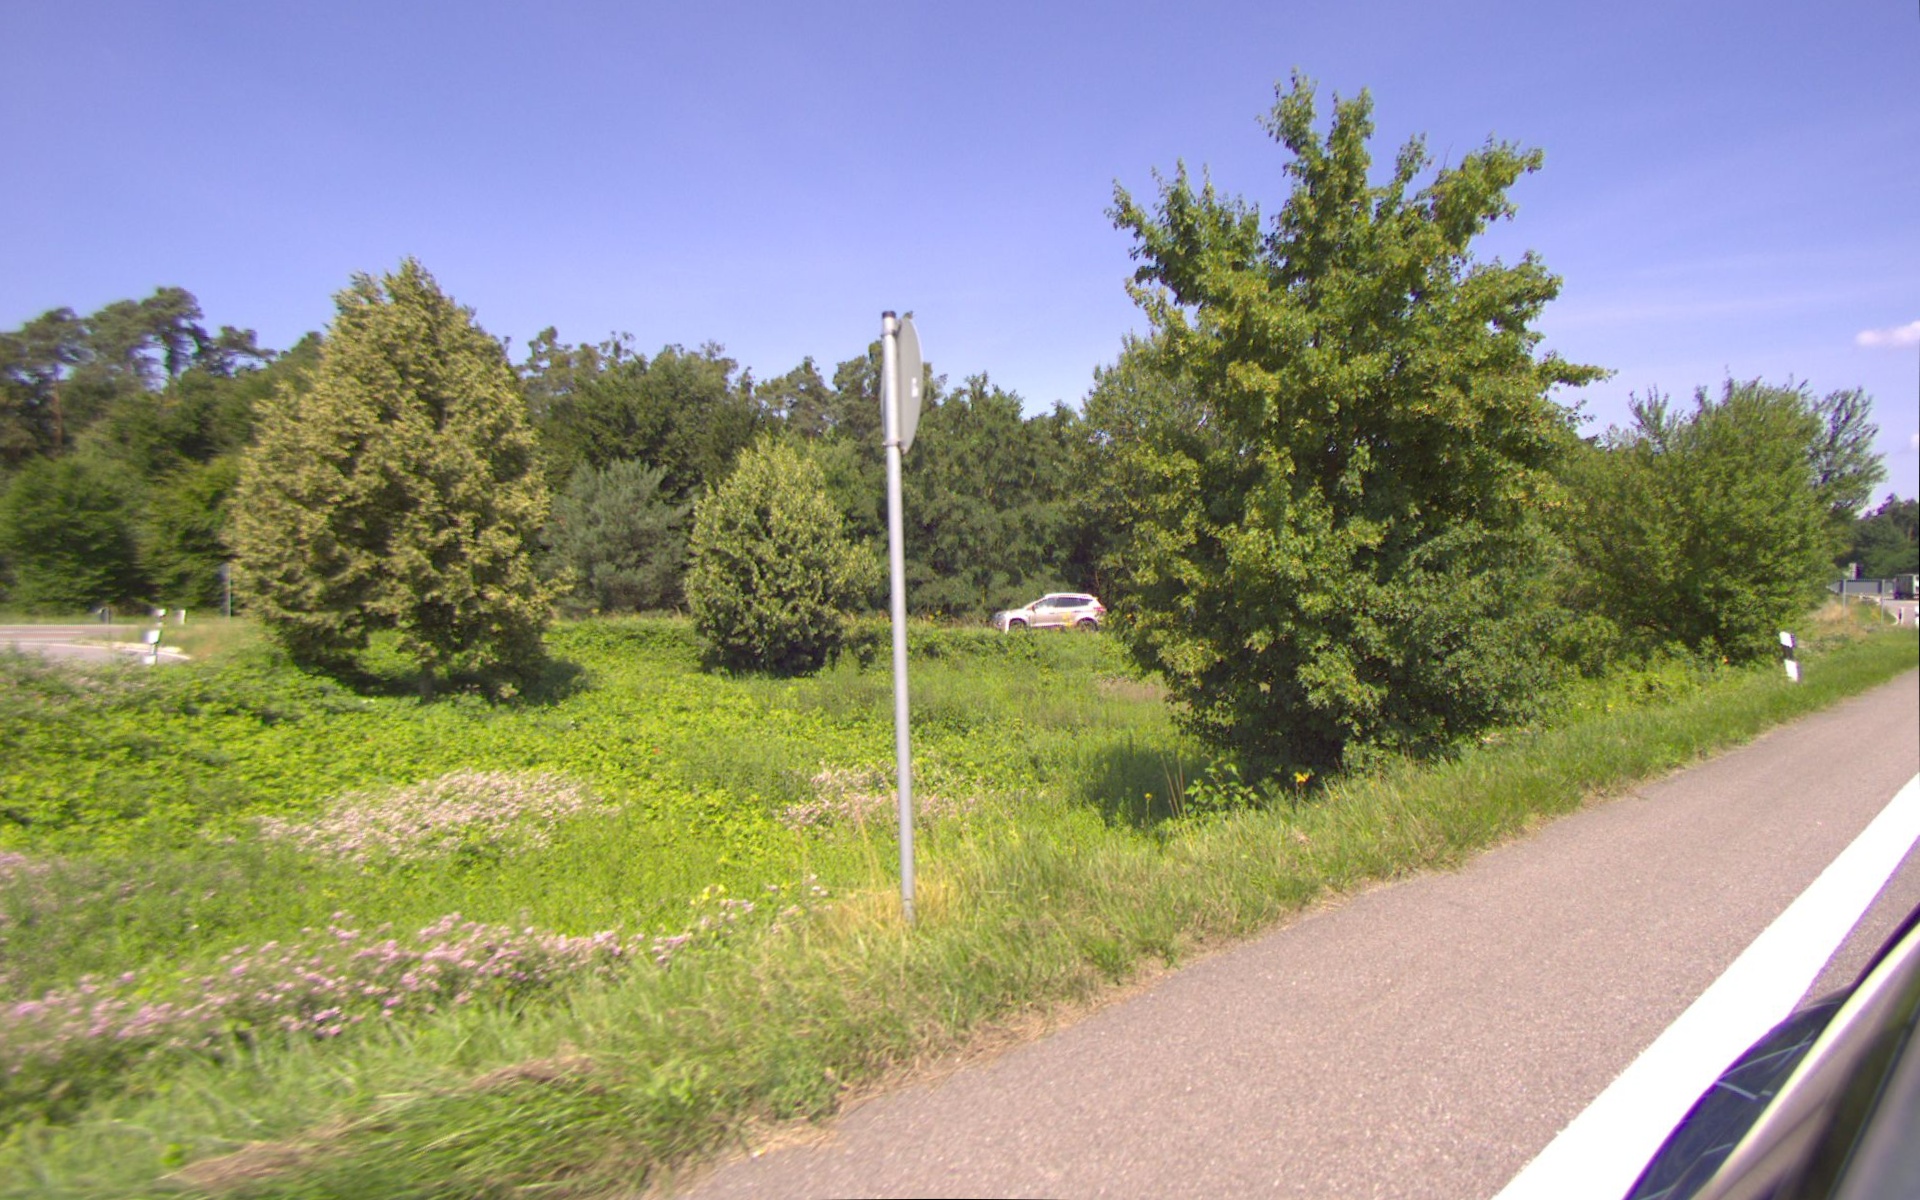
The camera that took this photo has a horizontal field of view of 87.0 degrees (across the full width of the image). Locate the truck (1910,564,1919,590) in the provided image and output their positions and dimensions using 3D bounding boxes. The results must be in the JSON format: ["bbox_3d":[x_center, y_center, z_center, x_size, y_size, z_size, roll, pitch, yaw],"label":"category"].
[{"bbox_3d":[157.305,-3.734,165.186,2.663,4.240,5.636,0,1,38],"label":"truck"}]

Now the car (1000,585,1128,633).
[{"bbox_3d":[3.917,0.360,38.541,4.575,1.687,1.900,-1,-1,-2],"label":"car"}]

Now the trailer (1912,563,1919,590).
[{"bbox_3d":[153.322,-3.644,160.075,2.663,4.240,13.870,0,1,38],"label":"trailer"}]
